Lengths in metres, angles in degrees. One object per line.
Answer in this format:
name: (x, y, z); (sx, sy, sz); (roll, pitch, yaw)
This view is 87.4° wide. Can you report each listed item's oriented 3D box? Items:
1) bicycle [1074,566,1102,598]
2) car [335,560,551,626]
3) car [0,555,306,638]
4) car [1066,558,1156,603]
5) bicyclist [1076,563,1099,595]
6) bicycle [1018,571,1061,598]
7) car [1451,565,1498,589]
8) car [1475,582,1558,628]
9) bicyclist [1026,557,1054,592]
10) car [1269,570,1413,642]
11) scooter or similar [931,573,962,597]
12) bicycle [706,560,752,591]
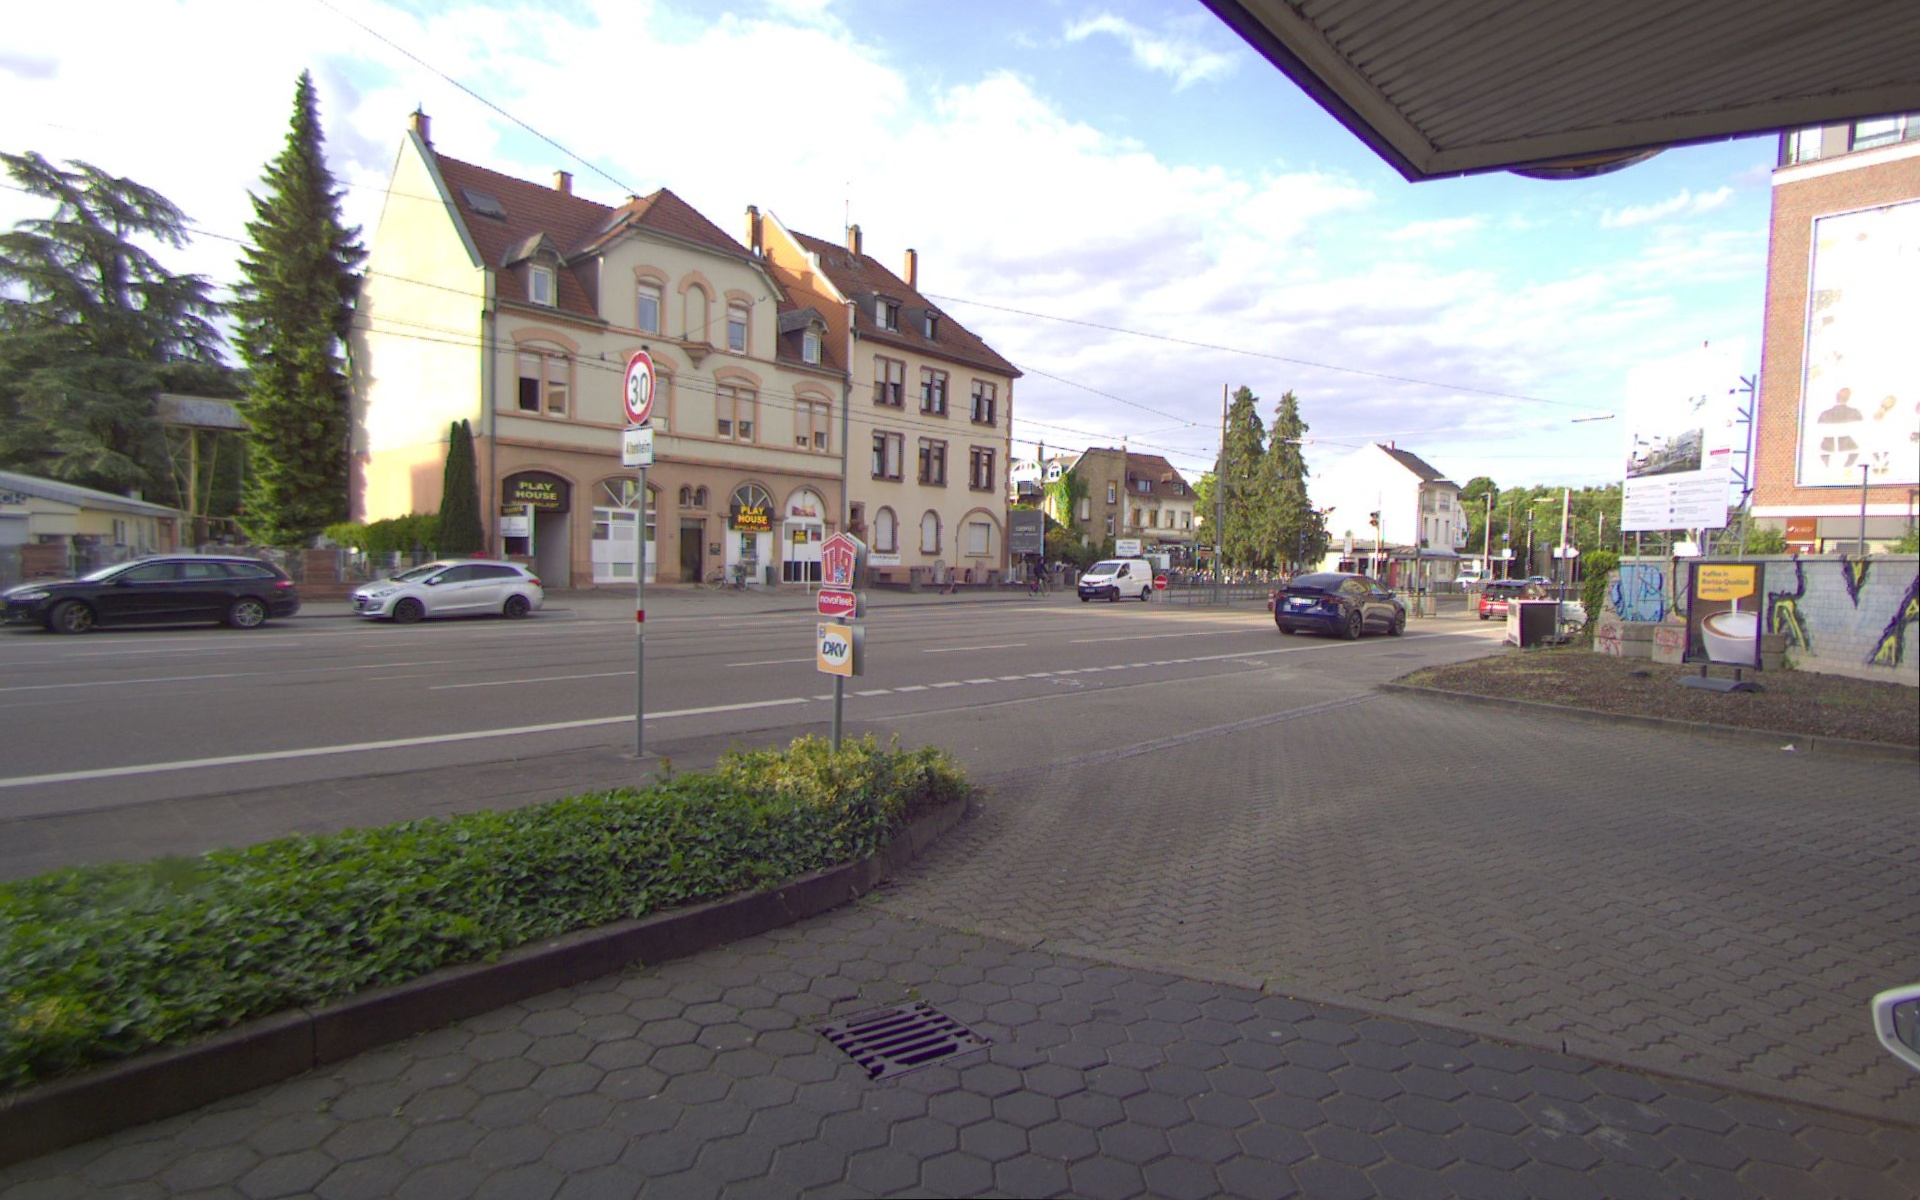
bicycle: (6.454, -0.909, 50.622); (0.774, 1.512, 1.990); (5, 4, 24)
car: (-12.997, -0.242, 25.464); (1.970, 1.495, 4.467); (3, 3, 40)
car: (-16.566, -0.143, 20.732); (1.970, 1.516, 4.801); (3, 3, 40)
car: (6.849, -0.863, 45.332); (1.940, 1.915, 4.388); (4, 3, 41)
bicyclist: (6.435, -1.076, 50.592); (0.774, 1.512, 1.095); (5, 4, 25)
bicycle: (3.839, -0.749, 48.572); (1.885, 1.219, 0.839); (1, 6, -33)
car: (43.403, -1.940, 84.726); (4.853, 1.995, 1.975); (-1, 3, -43)
car: (21.467, 0.165, 38.672); (1.745, 1.564, 4.106); (5, 4, 43)
bicyclist: (3.860, -1.225, 48.533); (0.954, 1.579, 0.839); (1, 6, -33)
car: (10.254, 0.130, 26.812); (1.746, 1.679, 4.820); (5, 4, 44)
scooter or similar: (-0.593, -0.686, 45.135); (0.488, 1.015, 1.592); (5, 5, 39)
bicycle: (-9.138, -0.951, 39.709); (0.508, 1.189, 1.809); (4, 2, 40)
